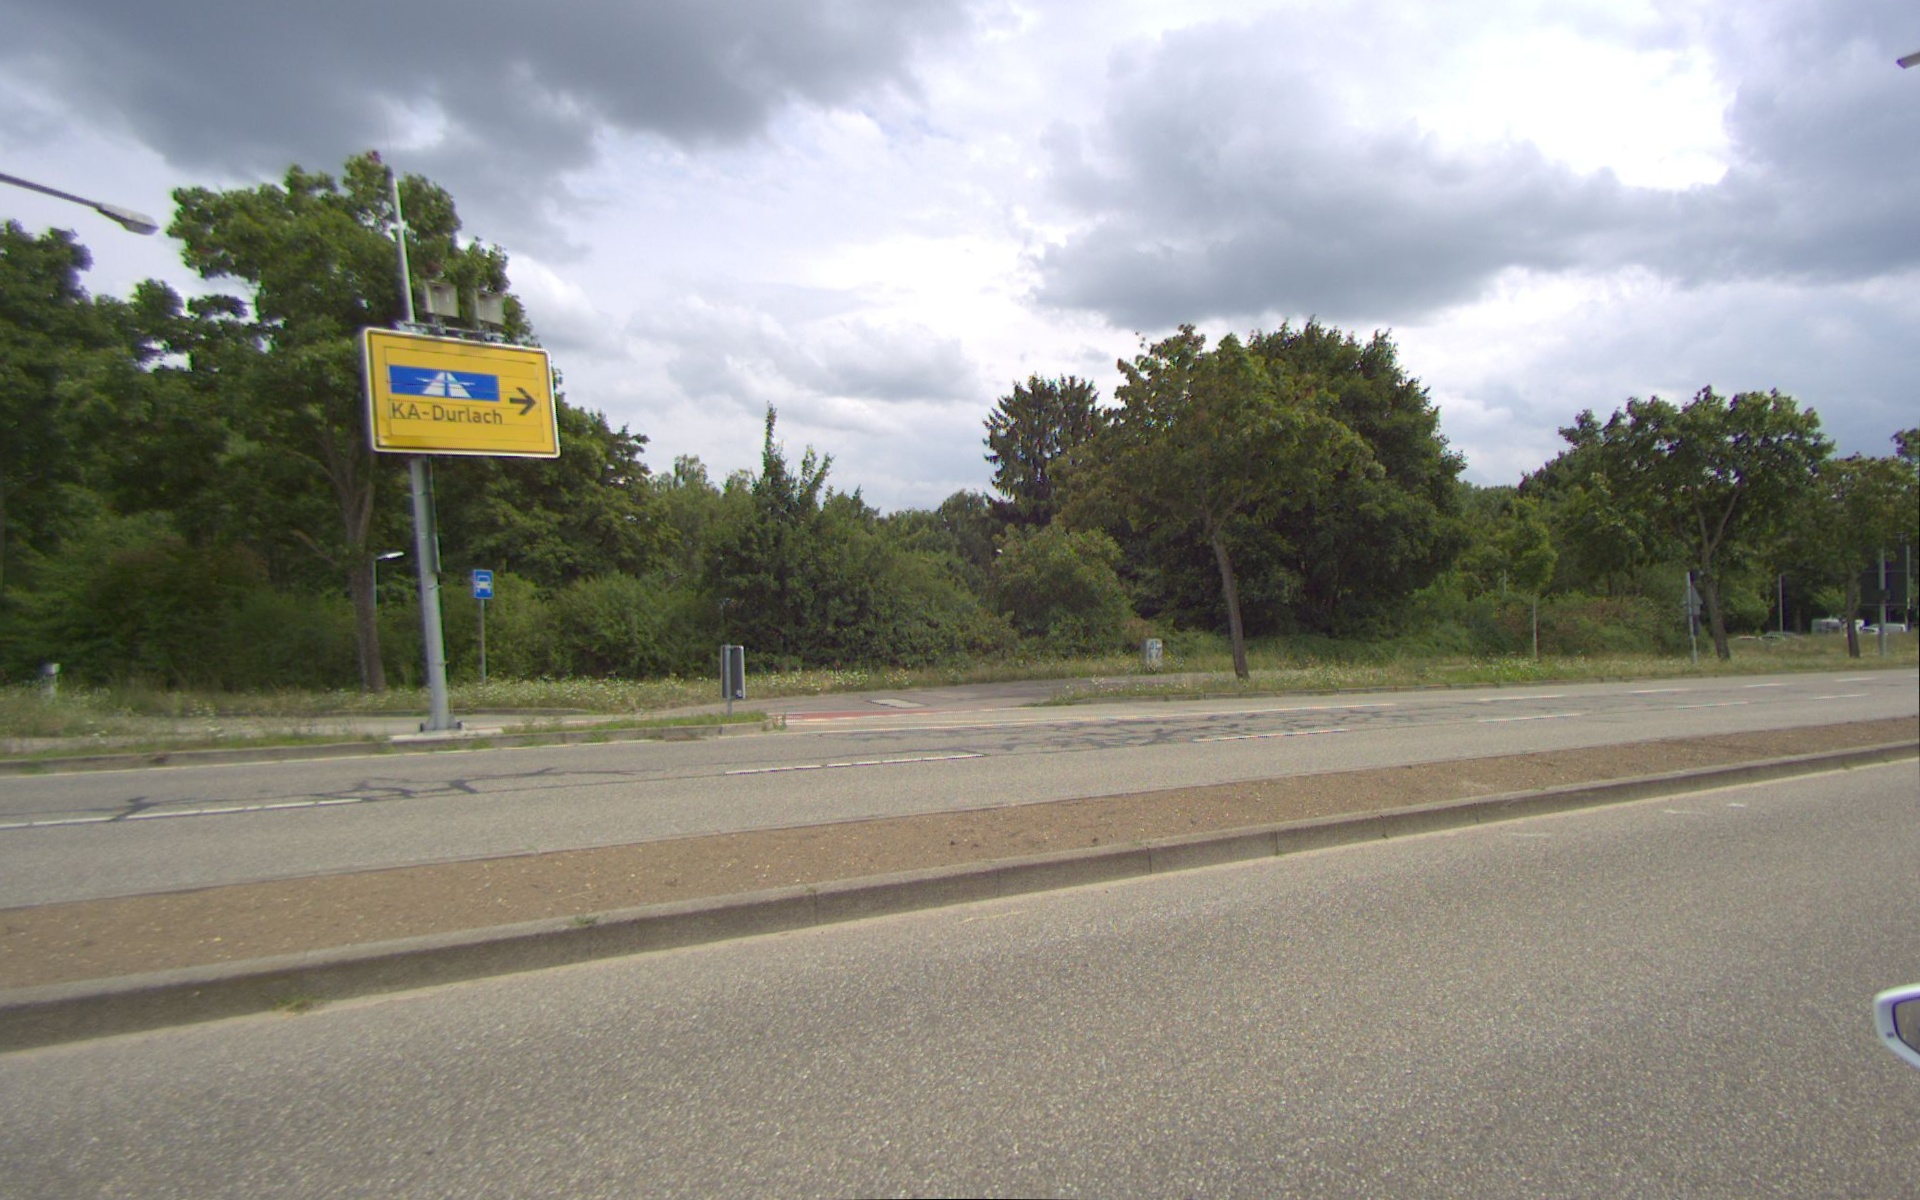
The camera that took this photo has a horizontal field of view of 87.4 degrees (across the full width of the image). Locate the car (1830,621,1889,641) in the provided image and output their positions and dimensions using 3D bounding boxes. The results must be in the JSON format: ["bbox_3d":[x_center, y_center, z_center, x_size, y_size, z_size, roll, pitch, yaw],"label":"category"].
[{"bbox_3d":[88.949,3.028,99.369,1.918,1.912,3.964,0,0,-33],"label":"car"}]

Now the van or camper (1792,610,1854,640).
[{"bbox_3d":[78.168,2.259,90.946,6.647,2.575,2.458,0,0,-33],"label":"van or camper"}]
